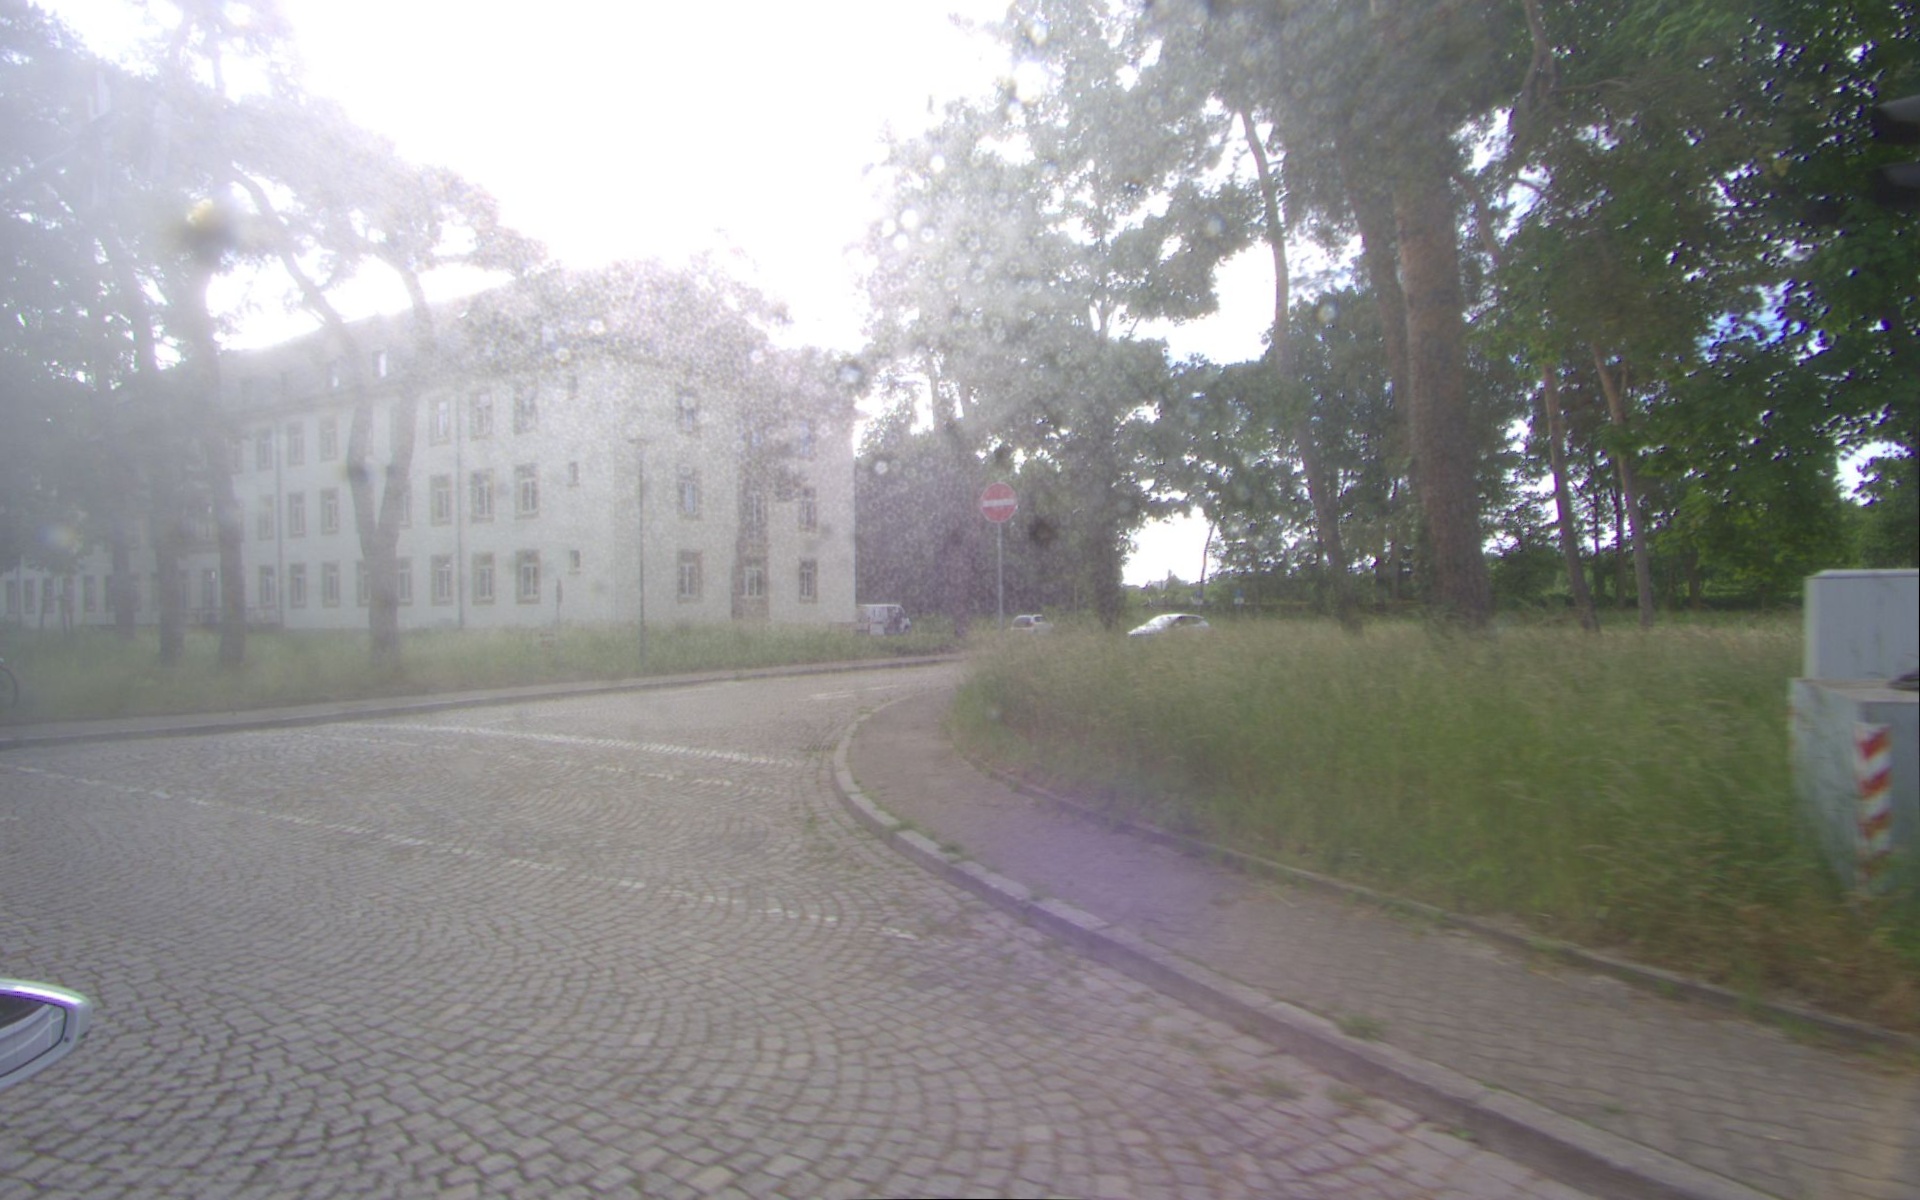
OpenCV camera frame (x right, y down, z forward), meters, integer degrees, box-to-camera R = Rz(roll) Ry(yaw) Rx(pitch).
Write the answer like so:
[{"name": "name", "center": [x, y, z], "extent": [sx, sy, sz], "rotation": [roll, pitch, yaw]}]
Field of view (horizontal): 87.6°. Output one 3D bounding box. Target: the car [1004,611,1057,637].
[{"name": "car", "center": [4.367, 1.459, 61.526], "extent": [1.970, 1.527, 3.477], "rotation": [-1, -1, 30]}]

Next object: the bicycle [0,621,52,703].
[{"name": "bicycle", "center": [-14.776, 0.919, 15.214], "extent": [1.845, 1.192, 0.908], "rotation": [-1, 0, 29]}]

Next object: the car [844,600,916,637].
[{"name": "car", "center": [-5.241, 1.196, 66.114], "extent": [2.180, 2.318, 5.173], "rotation": [0, -1, 30]}]

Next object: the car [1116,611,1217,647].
[{"name": "car", "center": [8.719, 1.179, 42.202], "extent": [4.205, 1.434, 1.874], "rotation": [0, -1, -37]}]
